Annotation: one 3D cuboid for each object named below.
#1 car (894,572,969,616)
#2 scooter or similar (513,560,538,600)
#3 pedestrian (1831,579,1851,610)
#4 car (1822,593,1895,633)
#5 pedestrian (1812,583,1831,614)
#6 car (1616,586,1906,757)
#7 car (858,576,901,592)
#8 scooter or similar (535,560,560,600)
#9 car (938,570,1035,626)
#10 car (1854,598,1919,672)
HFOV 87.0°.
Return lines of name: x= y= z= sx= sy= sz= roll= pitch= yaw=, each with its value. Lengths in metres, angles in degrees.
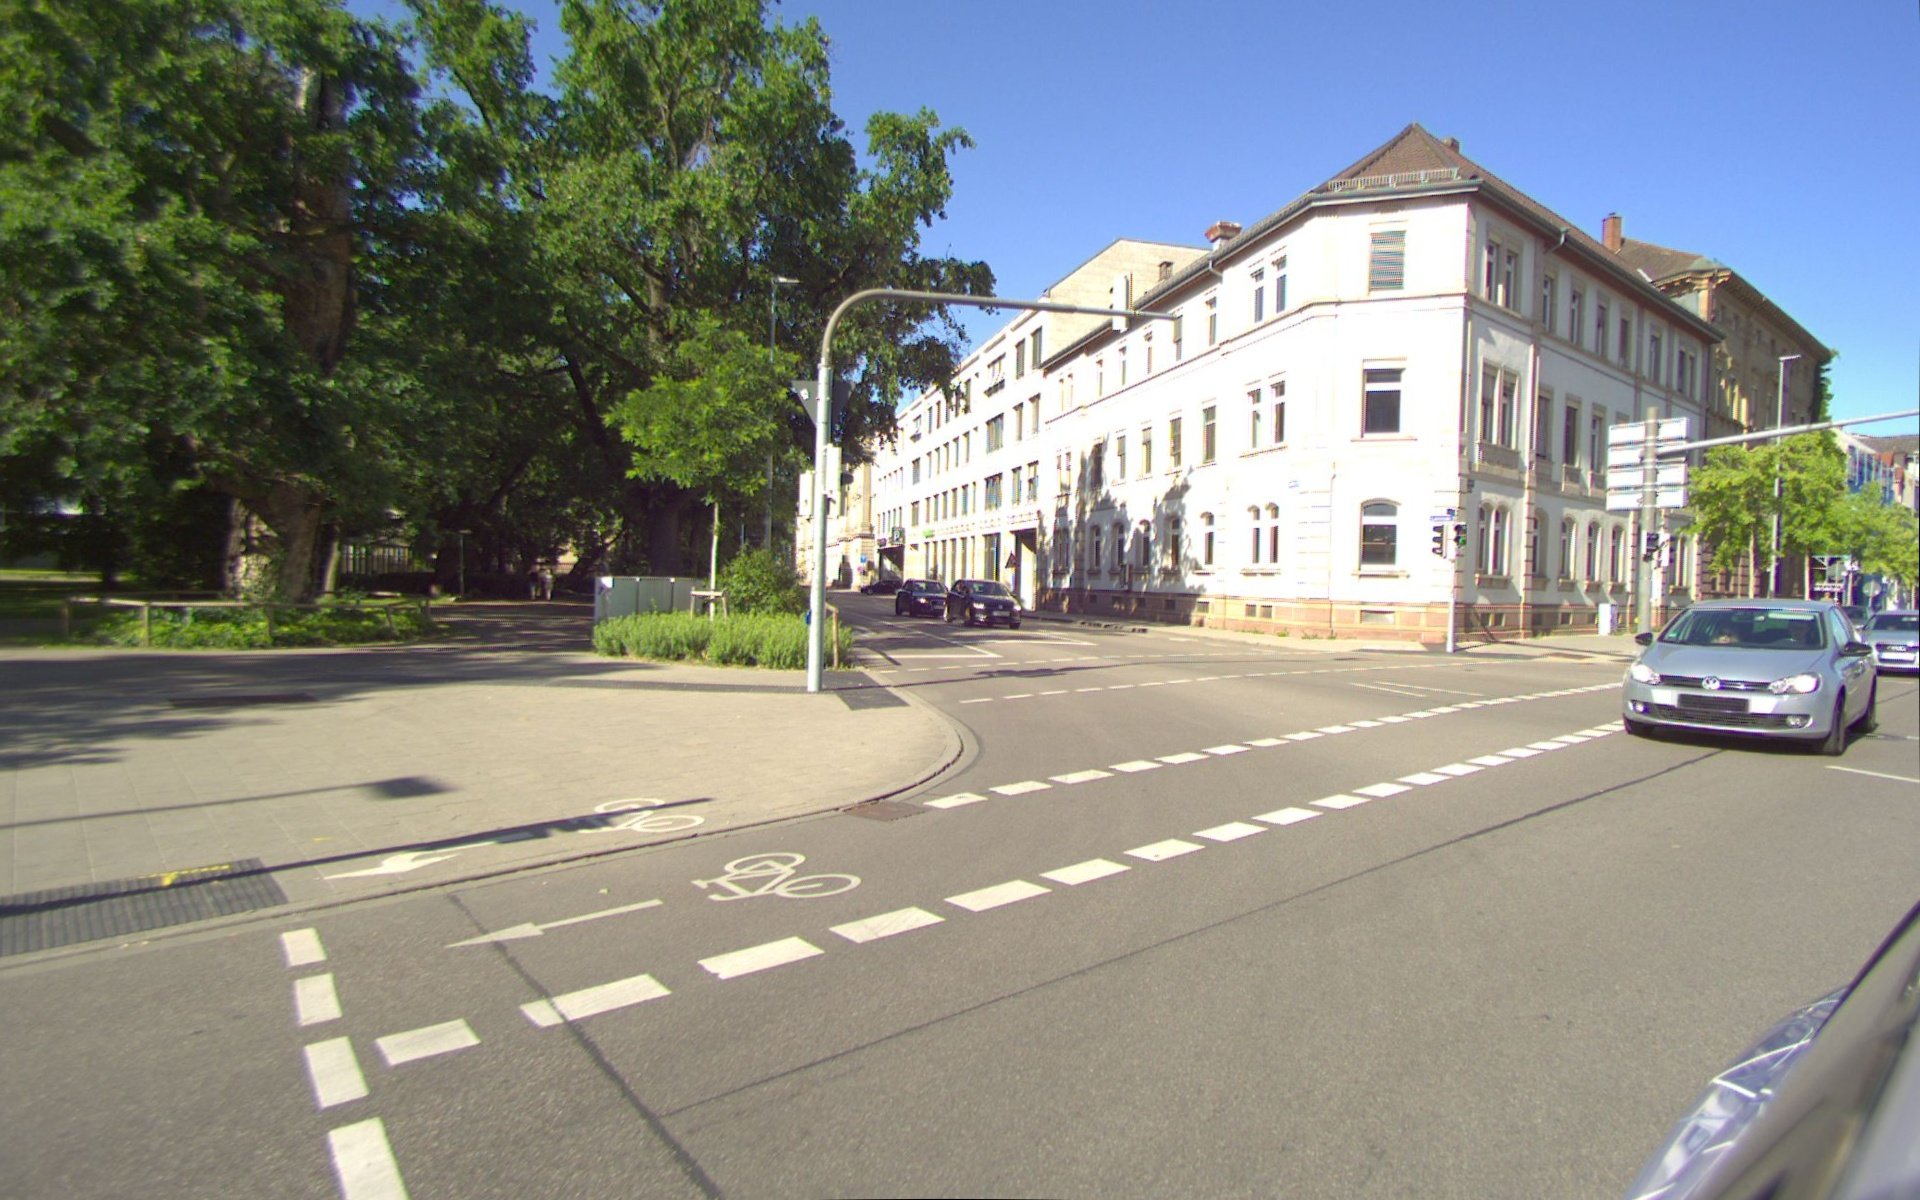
car: x=-1.112 y=-0.248 z=37.583 sx=1.821 sy=1.457 sz=4.009 roll=3 pitch=1 yaw=-16
scooter or similar: x=-20.464 y=-0.934 z=47.654 sx=0.742 sy=1.861 sz=3.236 roll=0 pitch=1 yaw=-29
pedestrian: x=45.384 y=-0.294 z=52.115 sx=0.891 sy=1.581 sz=0.668 roll=0 pitch=0 yaw=-42
car: x=36.116 y=0.489 z=40.657 sx=3.929 sy=1.461 sz=1.609 roll=0 pitch=2 yaw=-40
pedestrian: x=44.833 y=-0.096 z=52.659 sx=0.891 sy=1.581 sz=0.668 roll=0 pitch=0 yaw=-42
car: x=8.634 y=0.601 z=10.794 sx=3.929 sy=1.493 sz=1.702 roll=0 pitch=1 yaw=-40
car: x=-7.755 y=-1.528 z=97.532 sx=3.916 sy=1.549 sz=2.004 roll=0 pitch=1 yaw=-14
scooter or similar: x=-19.590 y=-0.937 z=48.045 sx=0.742 sy=1.861 sz=3.236 roll=0 pitch=1 yaw=-29
car: x=0.724 y=-0.080 z=30.869 sx=1.696 sy=1.501 sz=4.009 roll=4 pitch=0 yaw=-17
car: x=20.801 y=0.708 z=21.760 sx=3.929 sy=1.442 sz=1.838 roll=0 pitch=1 yaw=-40
